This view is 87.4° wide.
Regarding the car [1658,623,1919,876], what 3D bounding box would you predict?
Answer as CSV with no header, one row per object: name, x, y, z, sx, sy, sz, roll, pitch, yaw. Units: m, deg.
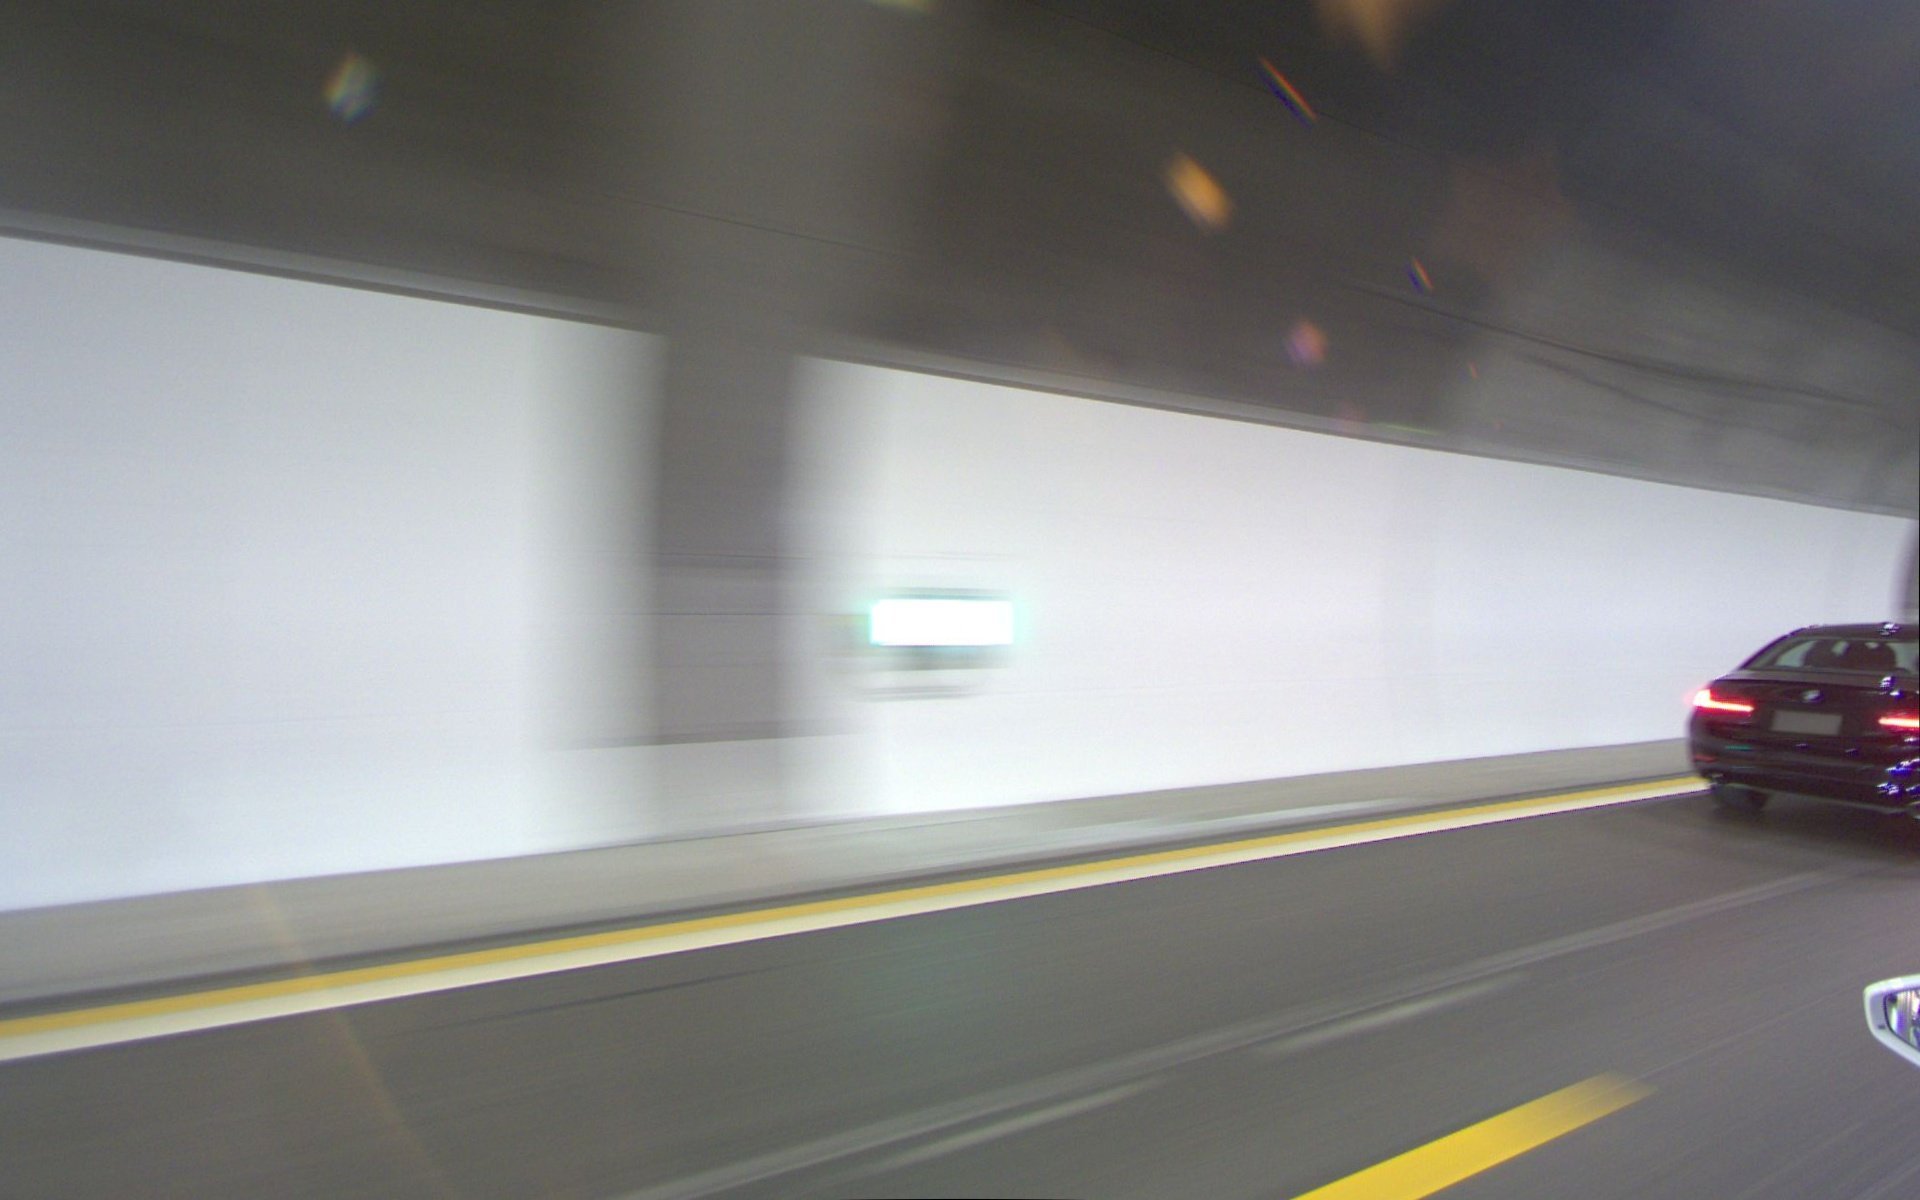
car,7.538,0.947,7.642,4.825,1.457,1.769,1,0,-30
